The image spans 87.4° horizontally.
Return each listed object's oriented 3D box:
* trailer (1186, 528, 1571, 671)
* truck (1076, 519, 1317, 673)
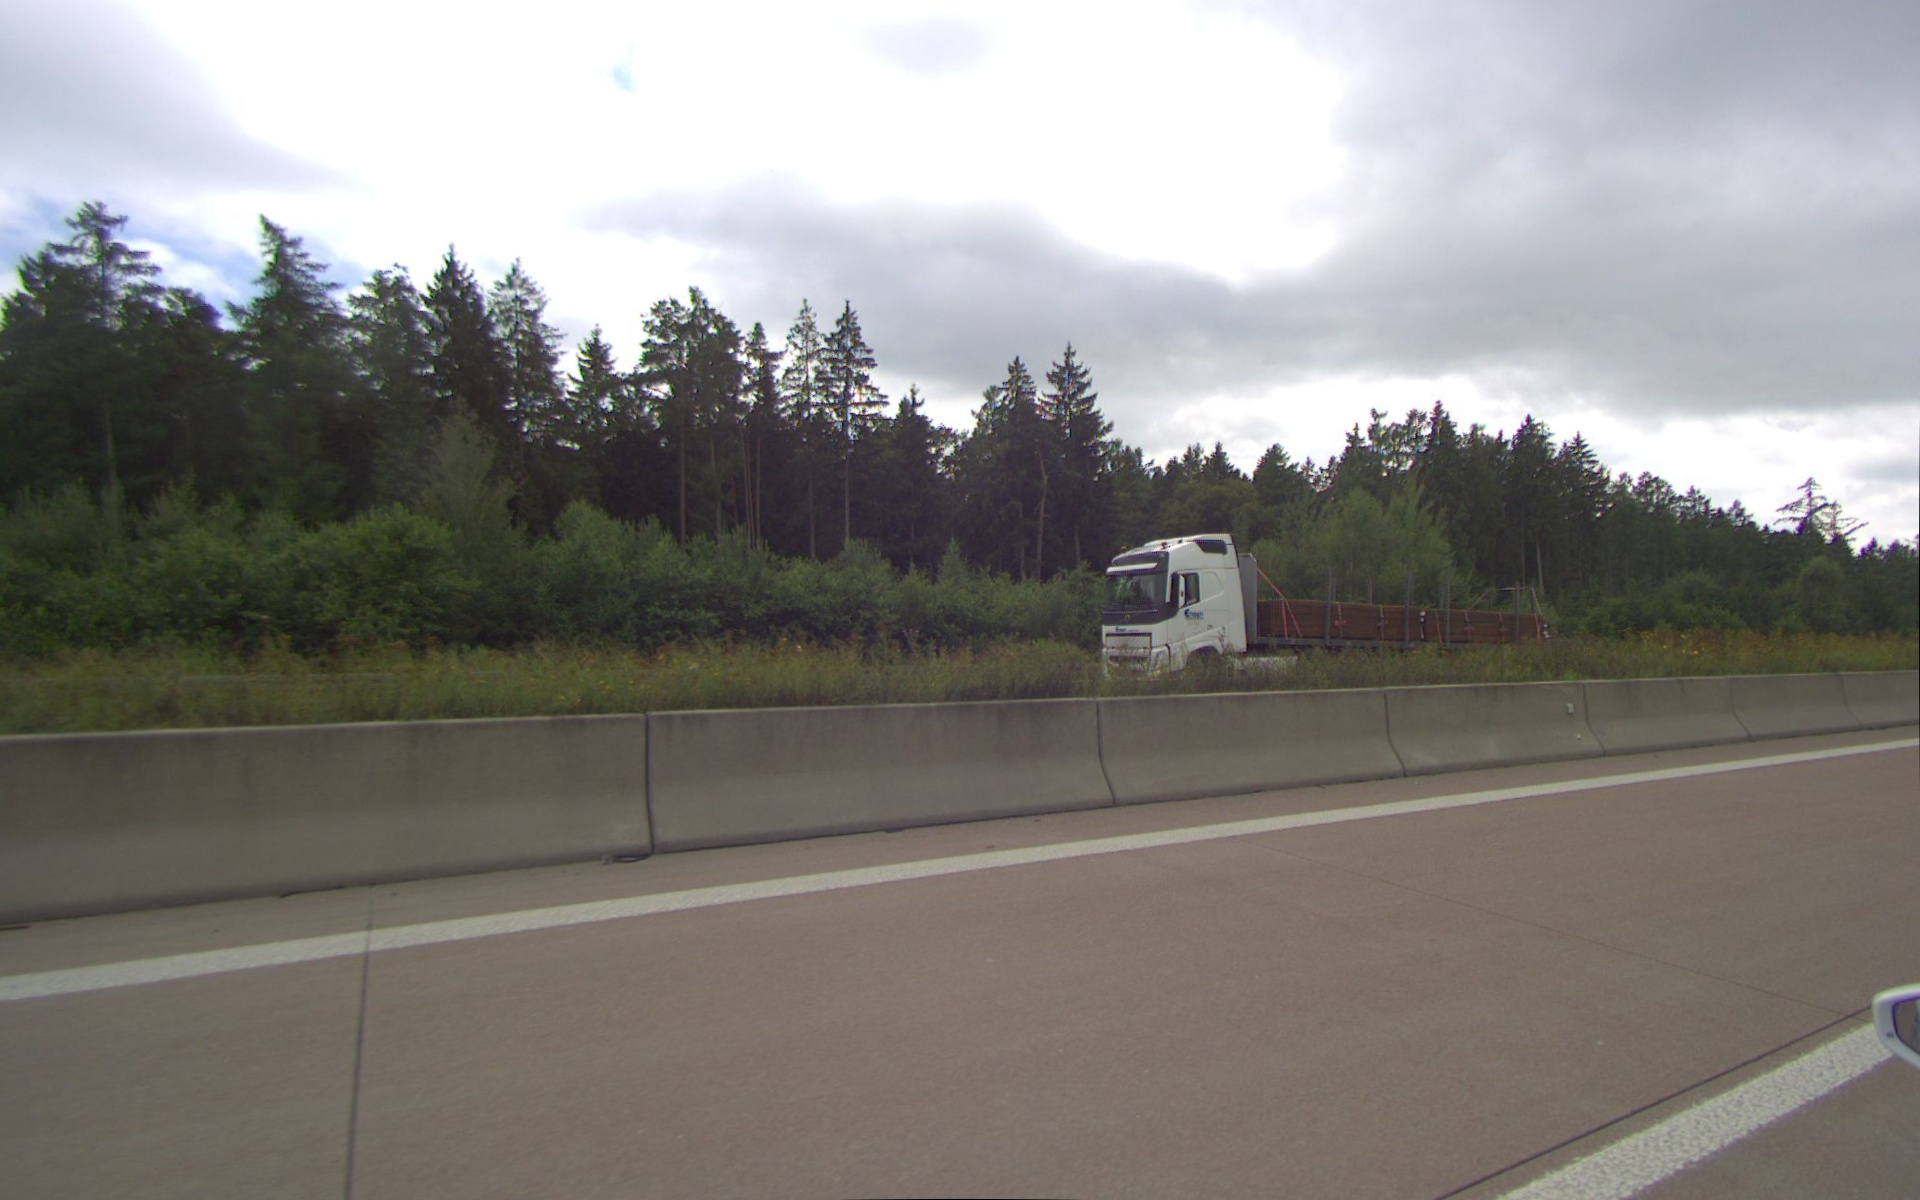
[{"bbox_3d":[12.483,0.110,29.008,13.114,3.465,2.920,1,0,-30],"label":"trailer"},{"bbox_3d":[5.917,-0.053,25.139,5.281,3.465,2.920,1,0,-30],"label":"truck"}]
